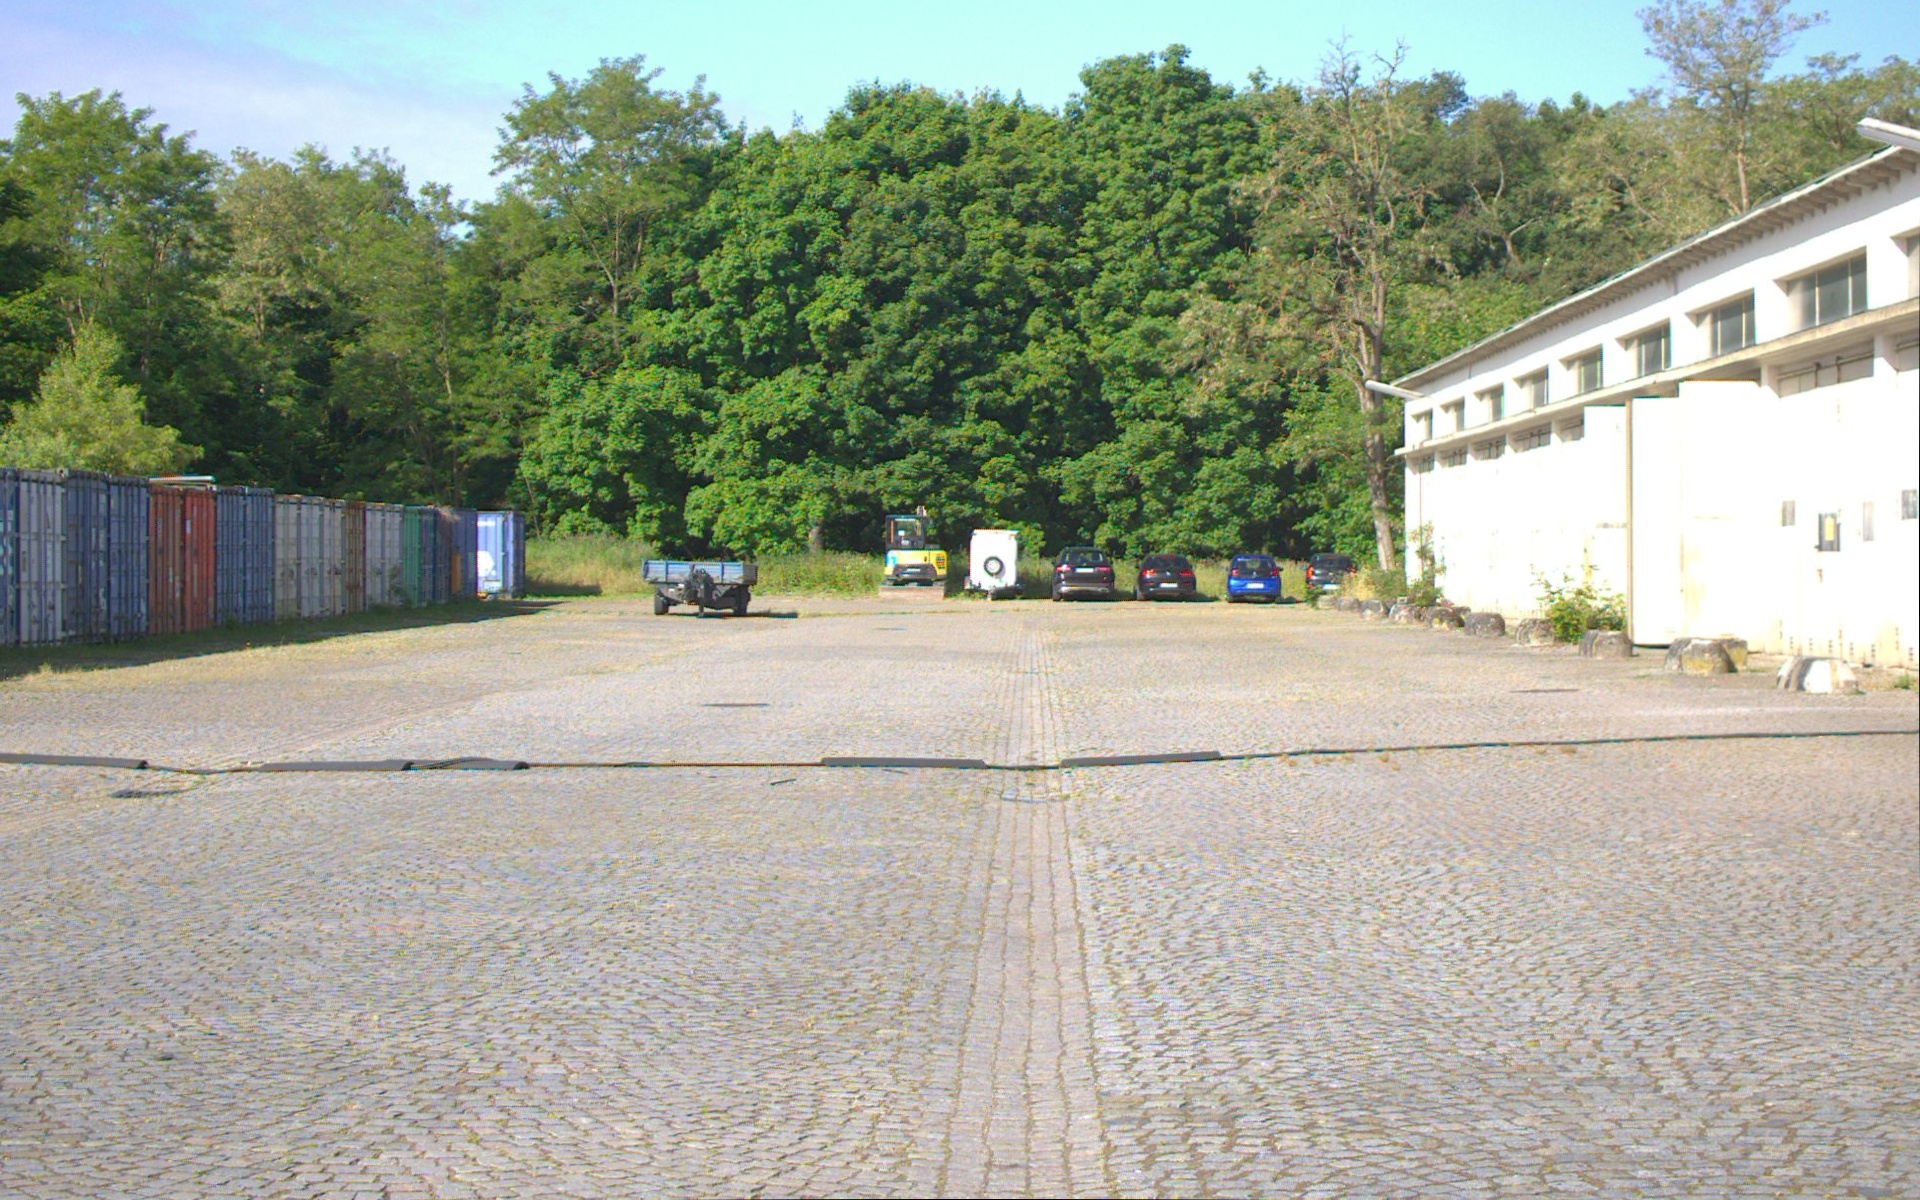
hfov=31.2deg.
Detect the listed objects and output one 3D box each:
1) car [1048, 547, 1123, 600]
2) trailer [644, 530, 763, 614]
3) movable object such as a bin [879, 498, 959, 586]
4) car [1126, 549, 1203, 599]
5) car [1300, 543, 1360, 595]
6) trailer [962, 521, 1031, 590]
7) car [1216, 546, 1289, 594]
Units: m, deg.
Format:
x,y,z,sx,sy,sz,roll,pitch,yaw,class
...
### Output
x,y,z,sx,sy,sz,roll,pitch,yaw,class
3.832,-0.818,104.125,1.862,1.580,3.999,0,1,8,car
-6.449,-0.721,87.001,2.407,2.007,4.173,2,1,3,trailer
-1.252,-1.792,106.221,1.994,2.609,3.999,2,1,5,movable object such as a bin
6.212,-0.803,104.028,1.994,1.458,3.999,0,1,8,car
11.352,-0.969,105.351,1.686,1.558,3.999,0,1,8,car
1.140,-1.387,105.887,1.794,2.083,3.971,0,1,5,trailer
8.876,-0.913,104.184,1.994,1.415,3.999,0,1,8,car
